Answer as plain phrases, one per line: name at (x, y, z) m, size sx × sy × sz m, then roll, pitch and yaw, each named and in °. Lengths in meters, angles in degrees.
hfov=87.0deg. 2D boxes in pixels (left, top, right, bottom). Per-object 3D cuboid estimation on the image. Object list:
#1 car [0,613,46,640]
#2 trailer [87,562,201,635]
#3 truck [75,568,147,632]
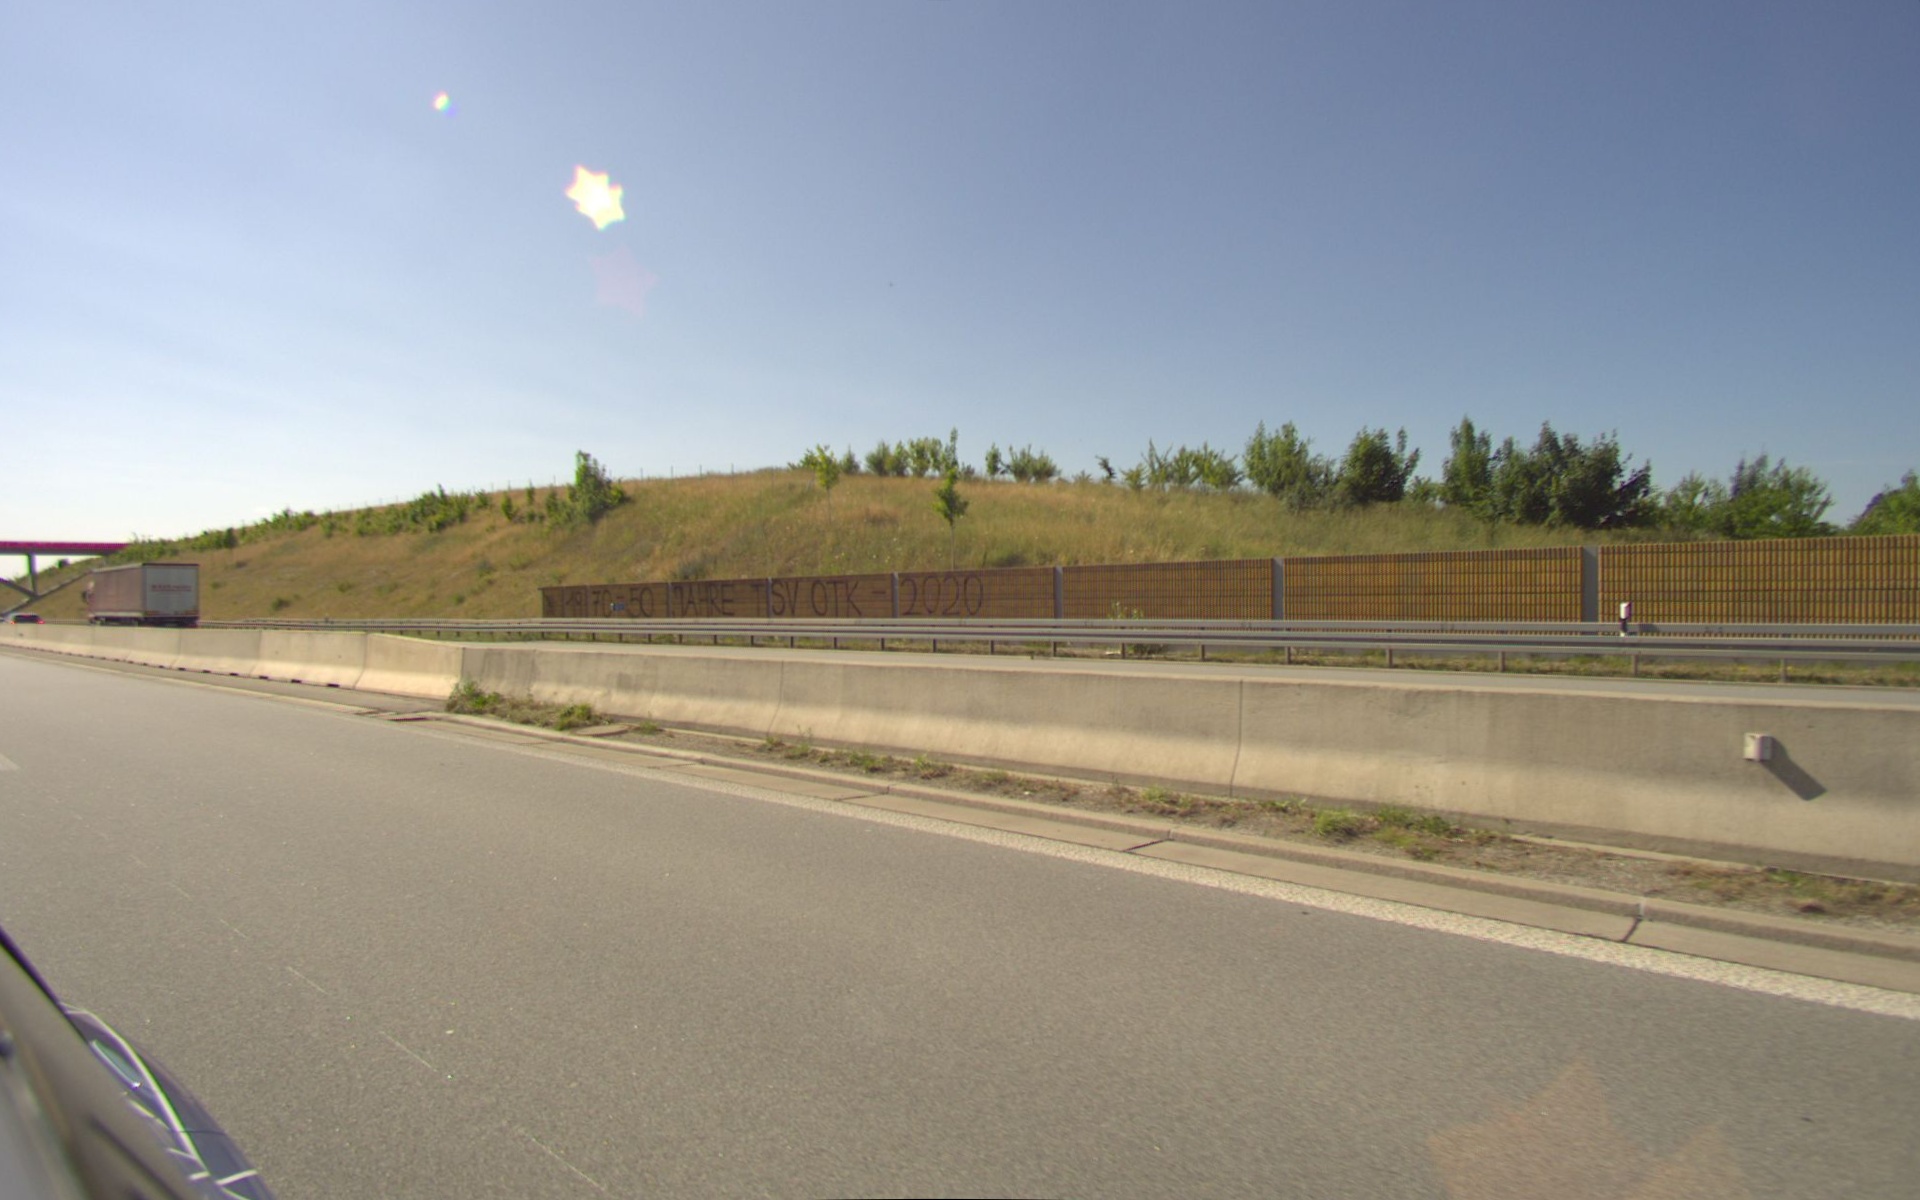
car at (-59.850, 1.680, 64.482) m, size 4.655 × 1.605 × 1.778 m, roll -1°, pitch 0°, yaw 40°
trailer at (-48.331, -0.025, 59.726) m, size 13.723 × 3.905 × 2.611 m, roll -1°, pitch 0°, yaw 40°
truck at (-54.201, 0.014, 64.605) m, size 4.888 × 3.952 × 2.611 m, roll -1°, pitch 0°, yaw 39°
